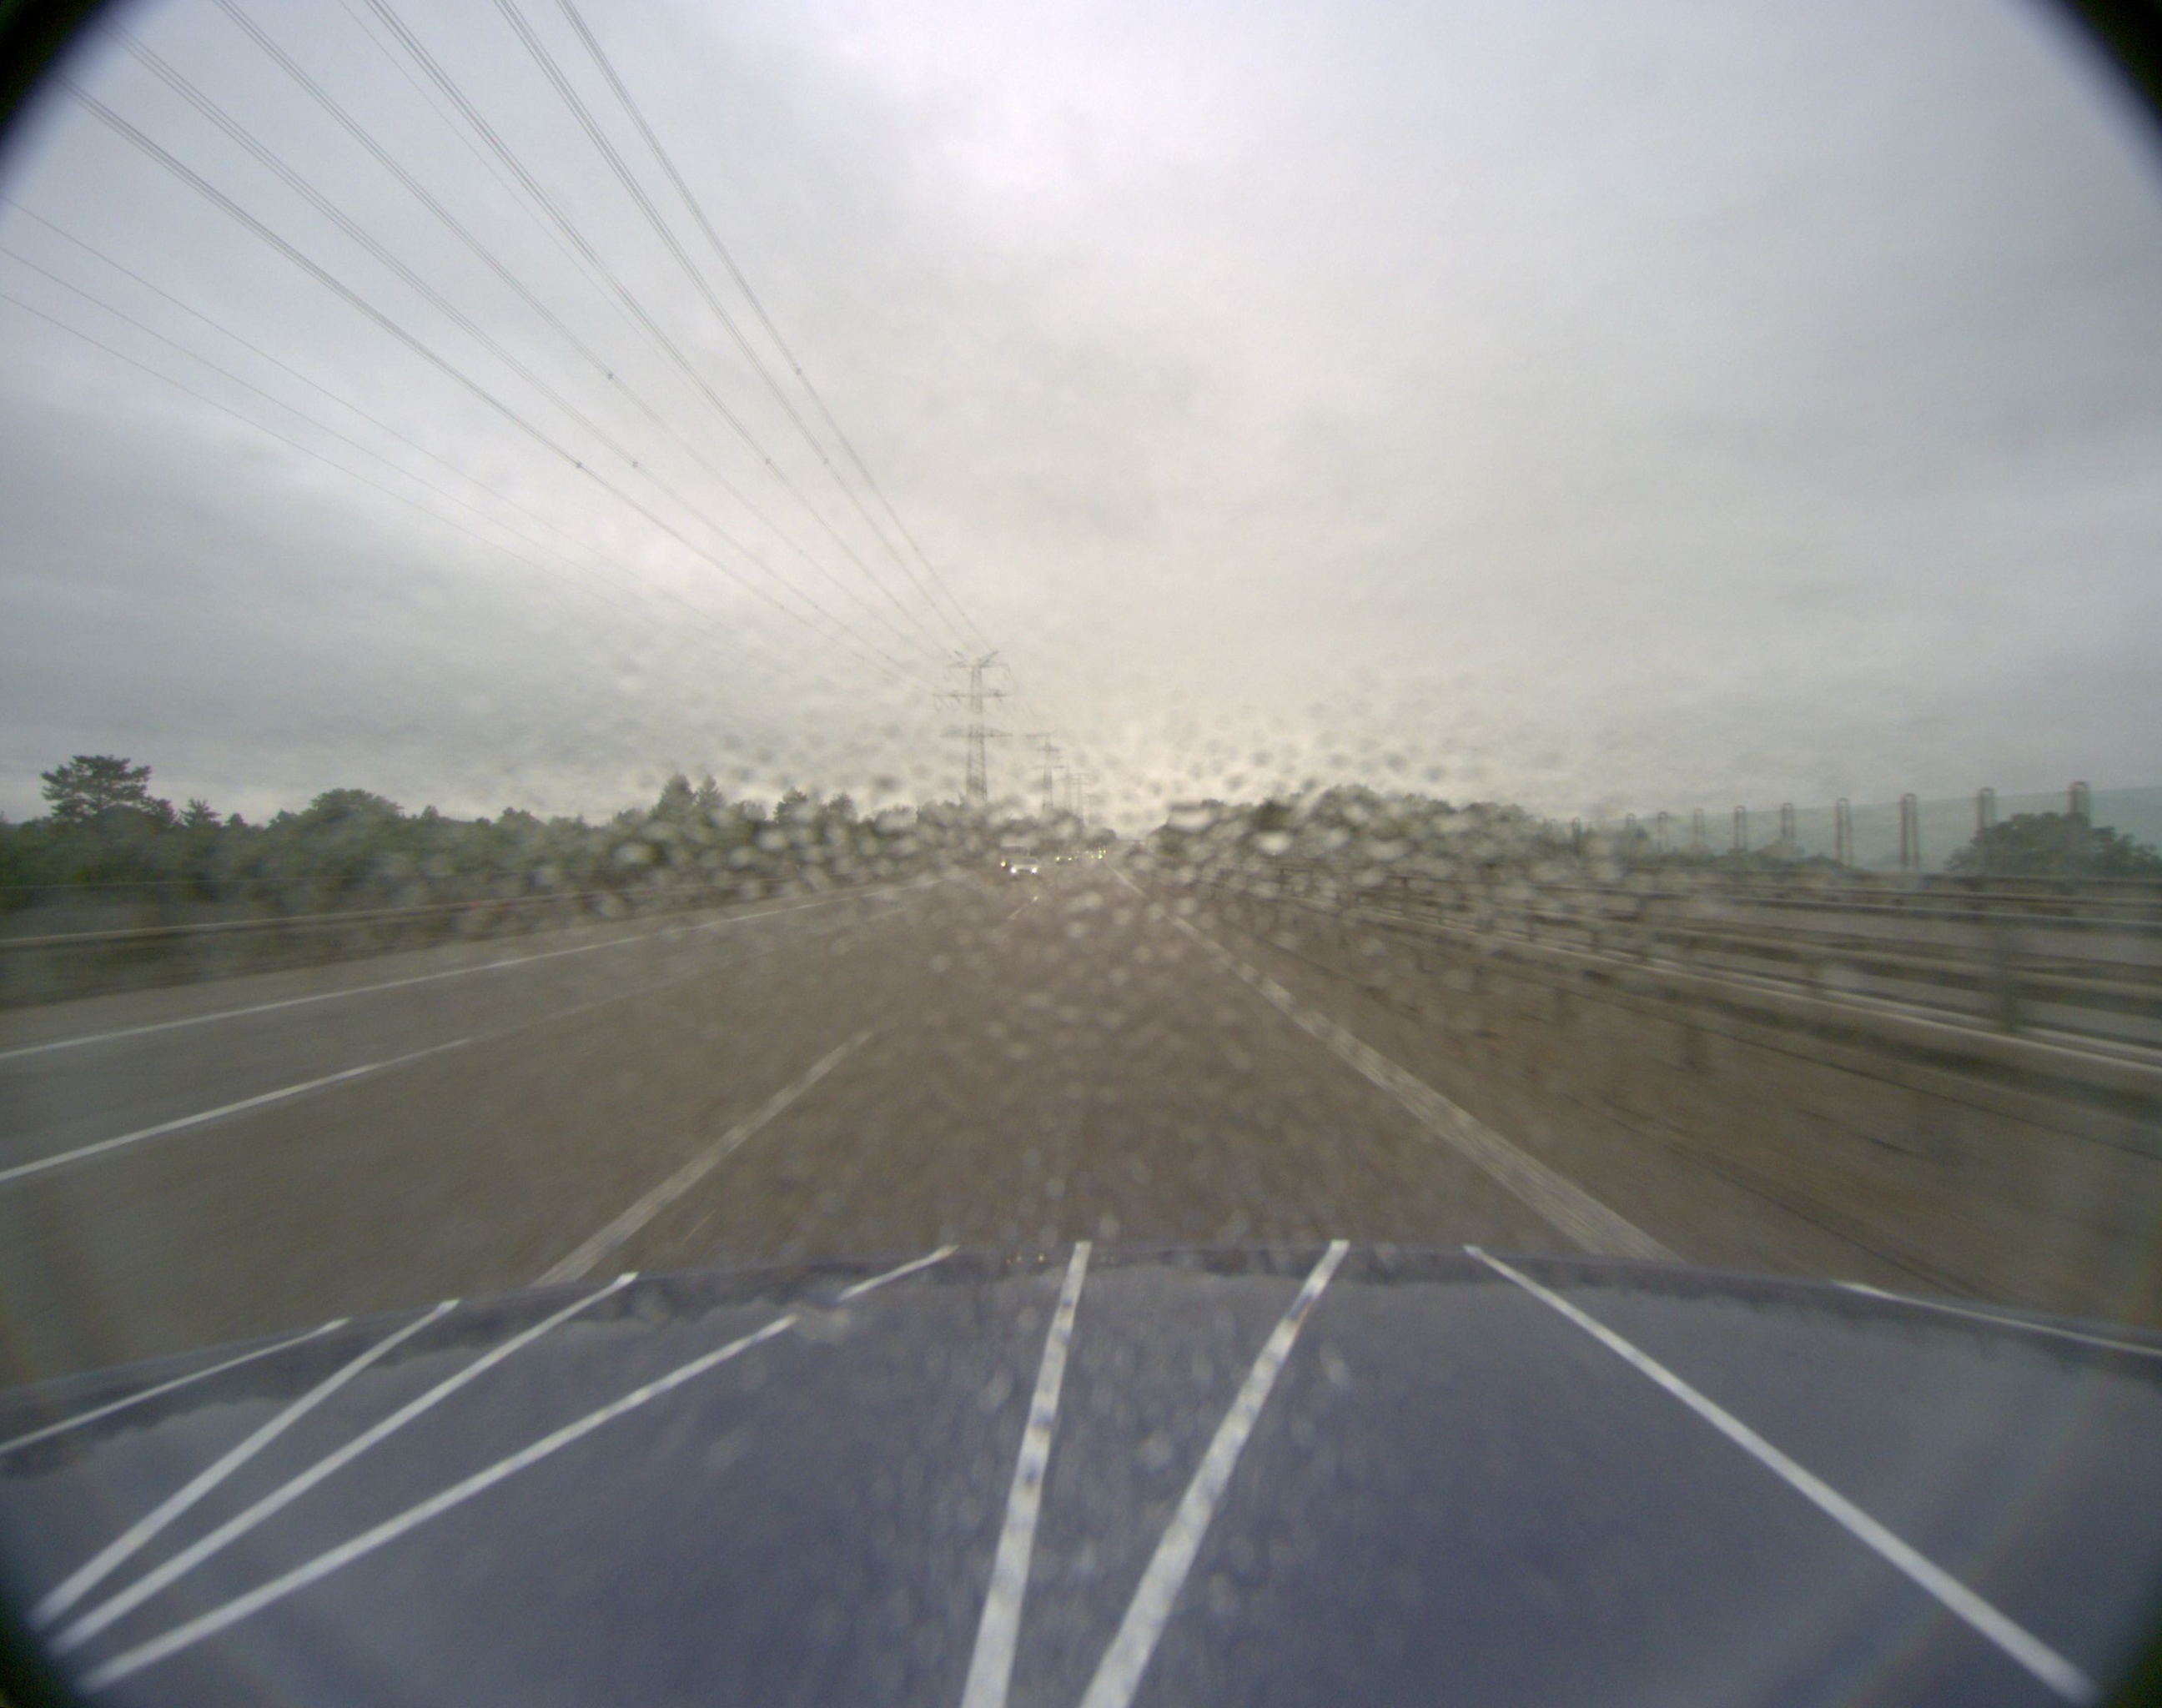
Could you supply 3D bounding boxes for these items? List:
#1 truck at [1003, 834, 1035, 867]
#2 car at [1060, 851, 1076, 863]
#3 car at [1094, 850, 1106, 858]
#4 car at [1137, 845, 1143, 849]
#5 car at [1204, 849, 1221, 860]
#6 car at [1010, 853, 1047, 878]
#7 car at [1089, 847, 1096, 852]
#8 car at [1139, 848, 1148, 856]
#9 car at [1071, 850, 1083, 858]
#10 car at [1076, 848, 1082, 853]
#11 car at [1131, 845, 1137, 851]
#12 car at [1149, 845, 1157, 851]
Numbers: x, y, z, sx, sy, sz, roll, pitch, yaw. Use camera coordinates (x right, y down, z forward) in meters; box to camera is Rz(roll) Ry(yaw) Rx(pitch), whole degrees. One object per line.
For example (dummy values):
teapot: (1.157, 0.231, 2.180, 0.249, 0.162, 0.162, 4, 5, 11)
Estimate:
truck: (-6.533, -0.359, 80.452, 2.649, 3.325, 6.930, -2, 0, 1)
car: (-1.767, 0.385, 101.654, 1.998, 1.418, 4.000, -2, 0, 1)
car: (3.387, -0.073, 137.530, 1.998, 1.418, 4.000, -2, 0, 1)
car: (20.402, -2.382, 262.034, 1.688, 1.528, 3.860, -1, 0, 1)
car: (18.786, 0.083, 108.608, 1.688, 1.488, 3.860, -1, 0, 1)
car: (-3.260, 0.689, 48.009, 1.998, 1.418, 4.000, -2, 0, 1)
car: (3.688, -1.325, 239.702, 1.998, 1.418, 4.000, -2, 0, 1)
car: (13.014, -0.445, 158.433, 1.688, 1.528, 3.860, -1, 0, 1)
car: (-0.707, -0.034, 140.669, 1.998, 1.418, 4.000, -2, 0, 1)
car: (-0.561, -1.177, 238.936, 1.783, 1.482, 4.000, -2, 0, 1)
car: (15.194, -1.675, 217.706, 1.688, 1.528, 3.860, -1, 0, 1)
car: (18.167, -1.423, 192.350, 1.688, 1.528, 3.860, -1, 0, 1)
